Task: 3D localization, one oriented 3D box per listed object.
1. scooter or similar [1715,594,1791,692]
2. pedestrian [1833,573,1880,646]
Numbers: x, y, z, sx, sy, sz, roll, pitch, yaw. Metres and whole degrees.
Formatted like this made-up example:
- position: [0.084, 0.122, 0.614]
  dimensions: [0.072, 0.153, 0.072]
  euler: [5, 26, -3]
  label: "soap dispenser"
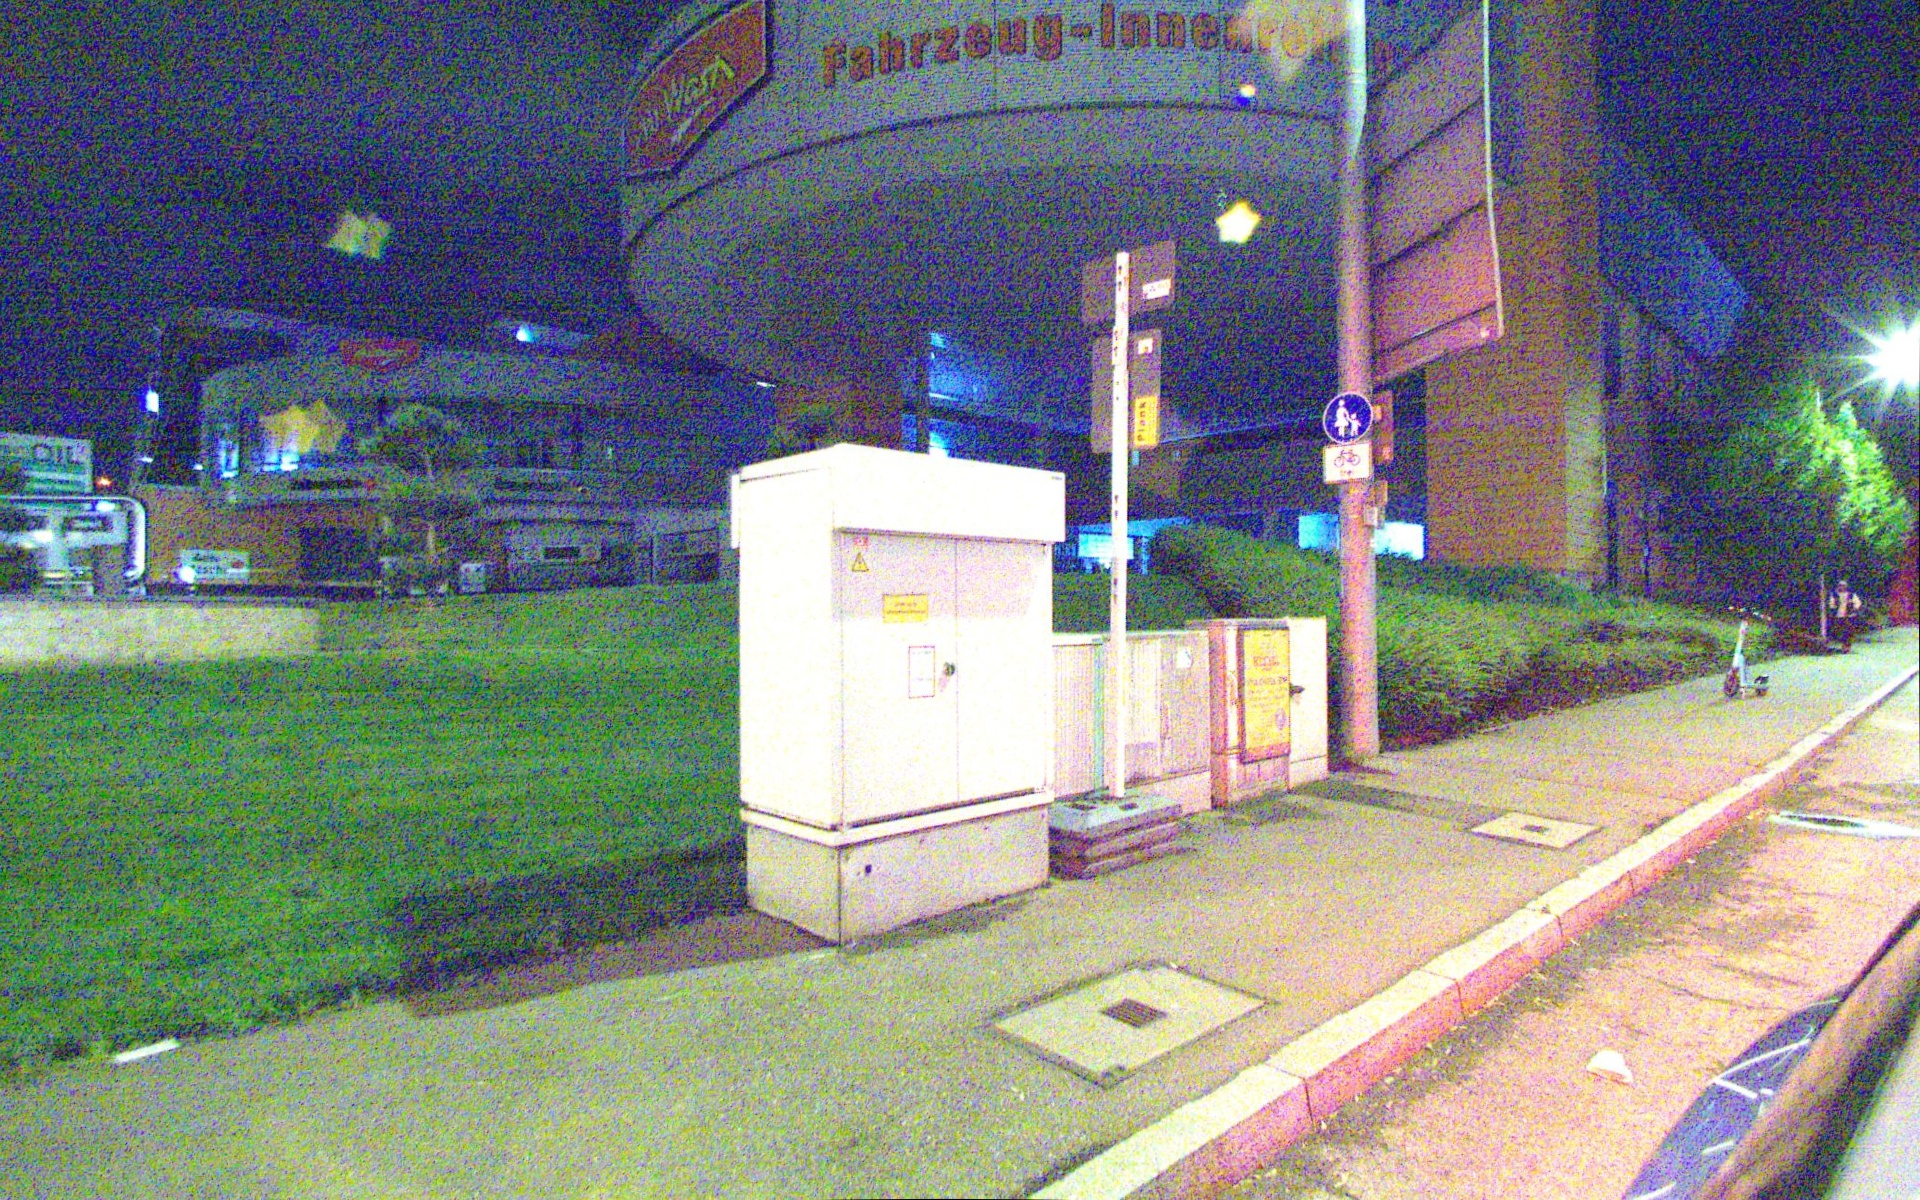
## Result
- position: [11.131, 0.579, 14.196]
  dimensions: [1.367, 1.295, 0.569]
  euler: [0, 1, -41]
  label: "scooter or similar"
- position: [23.348, 0.235, 26.350]
  dimensions: [0.597, 1.842, 0.824]
  euler: [-1, 0, -40]
  label: "pedestrian"
